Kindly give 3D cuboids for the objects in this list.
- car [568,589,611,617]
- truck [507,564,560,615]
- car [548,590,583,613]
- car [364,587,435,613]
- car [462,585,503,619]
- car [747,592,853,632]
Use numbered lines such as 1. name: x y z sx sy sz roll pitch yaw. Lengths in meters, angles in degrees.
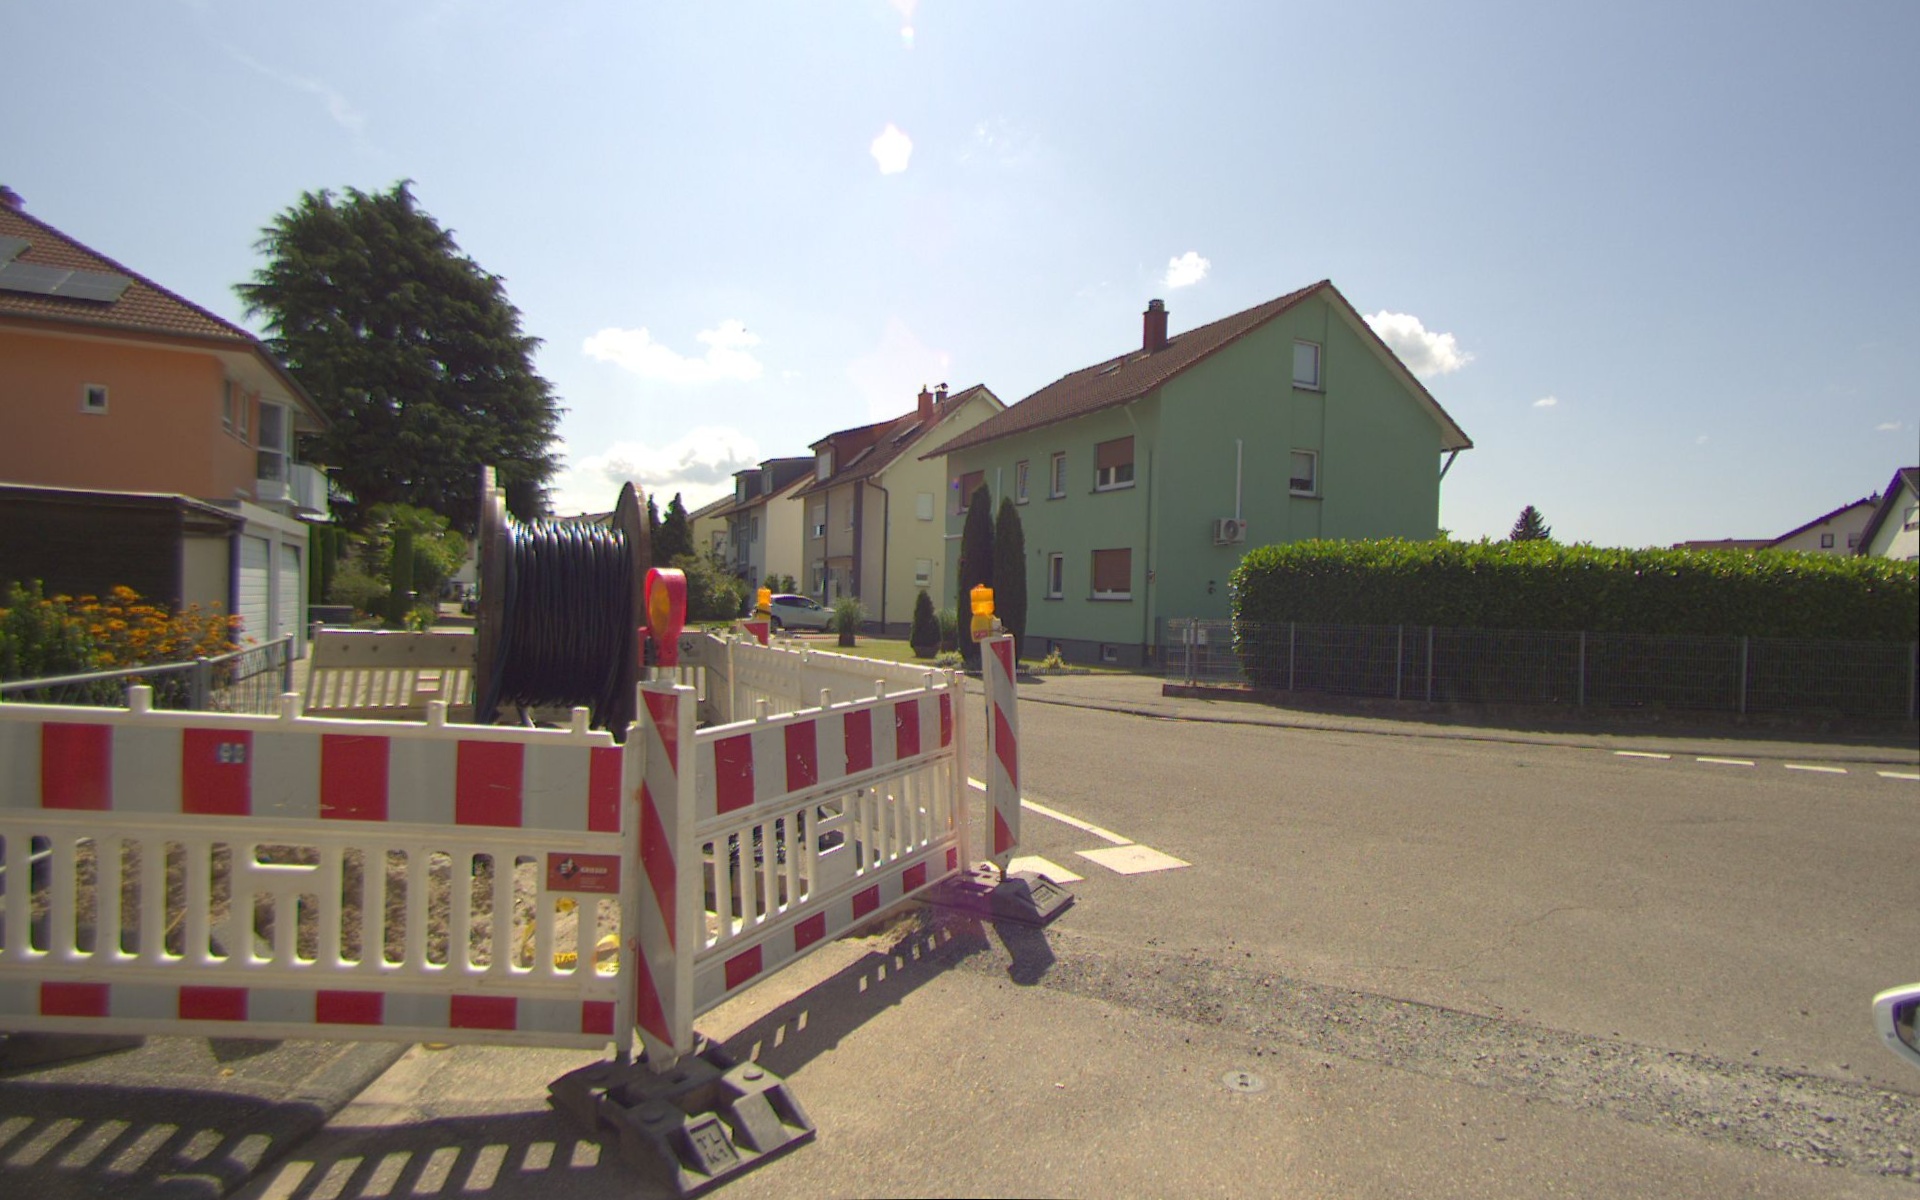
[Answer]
1. car: -22.087 0.157 59.825 1.792 1.515 3.969 1 0 -29
2. truck: -25.538 -0.659 59.938 2.410 2.825 7.248 -2 1 -26
3. car: -27.962 0.086 71.119 1.792 1.515 3.969 1 0 -29
4. car: -39.115 -0.004 70.202 4.148 1.675 1.803 2 0 -25
5. car: -26.829 0.079 56.395 1.792 1.786 4.174 1 0 -29
6. car: -6.430 0.473 40.299 3.875 1.530 1.762 1 1 -26
